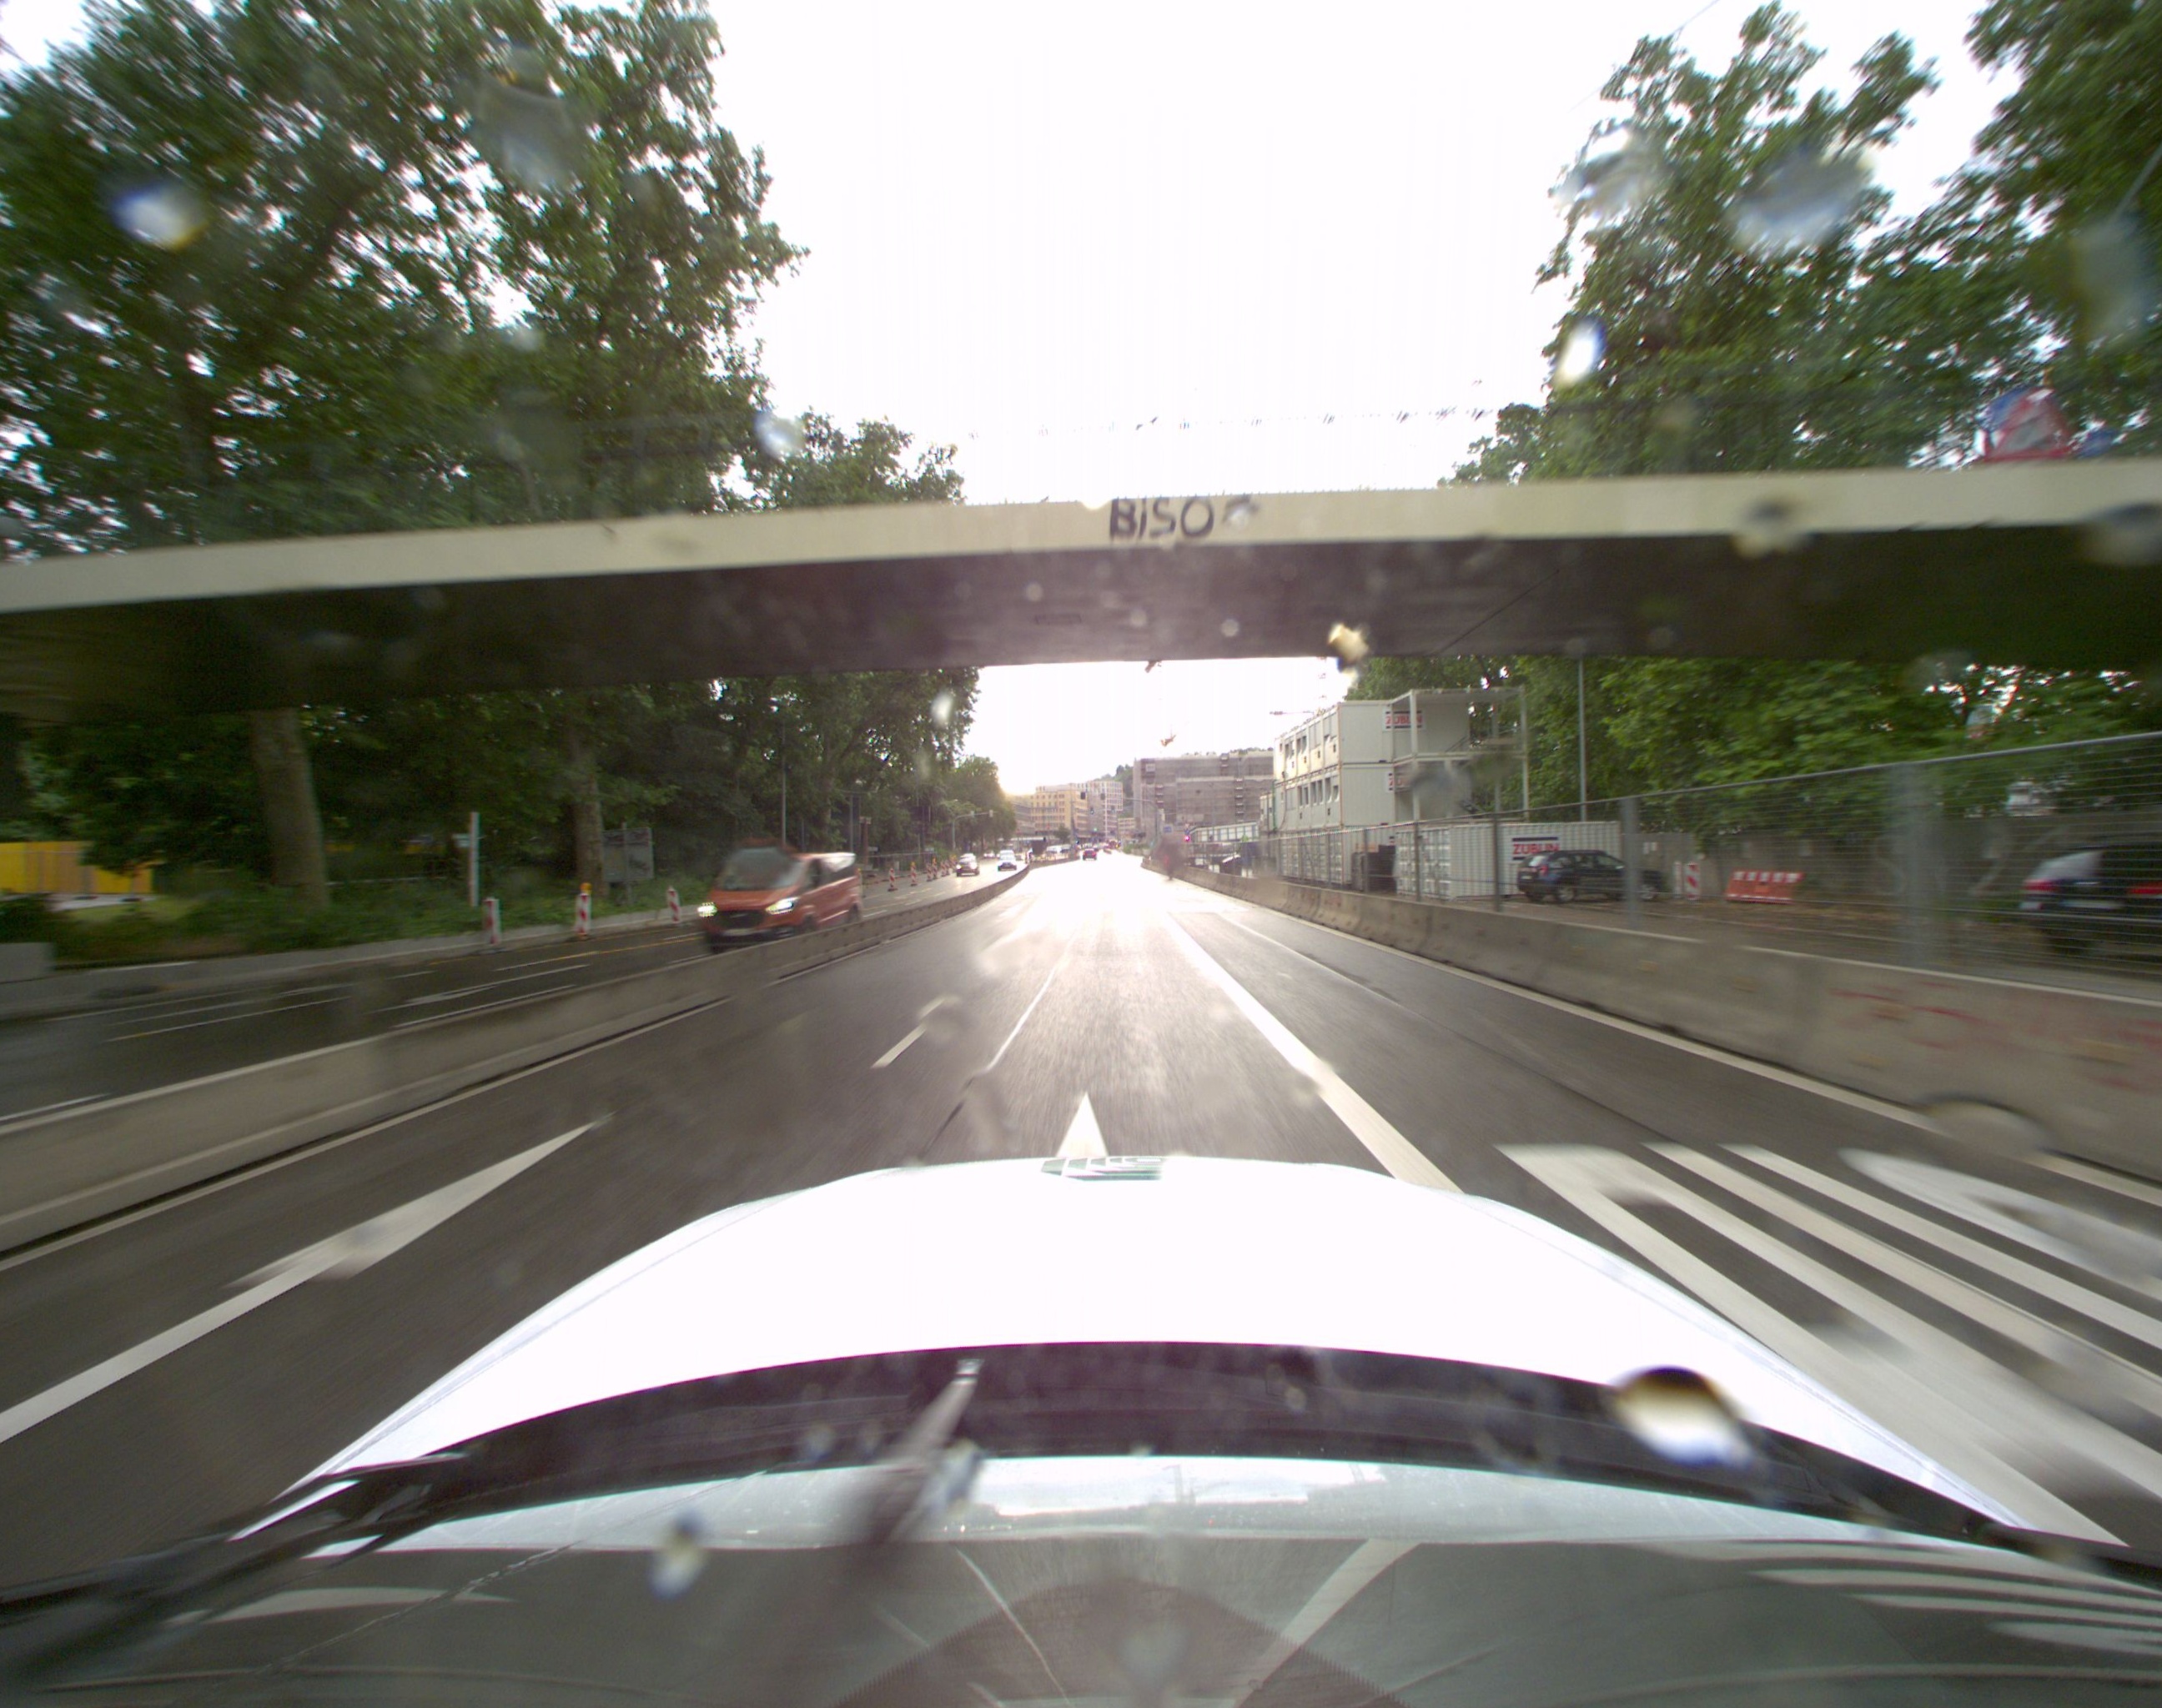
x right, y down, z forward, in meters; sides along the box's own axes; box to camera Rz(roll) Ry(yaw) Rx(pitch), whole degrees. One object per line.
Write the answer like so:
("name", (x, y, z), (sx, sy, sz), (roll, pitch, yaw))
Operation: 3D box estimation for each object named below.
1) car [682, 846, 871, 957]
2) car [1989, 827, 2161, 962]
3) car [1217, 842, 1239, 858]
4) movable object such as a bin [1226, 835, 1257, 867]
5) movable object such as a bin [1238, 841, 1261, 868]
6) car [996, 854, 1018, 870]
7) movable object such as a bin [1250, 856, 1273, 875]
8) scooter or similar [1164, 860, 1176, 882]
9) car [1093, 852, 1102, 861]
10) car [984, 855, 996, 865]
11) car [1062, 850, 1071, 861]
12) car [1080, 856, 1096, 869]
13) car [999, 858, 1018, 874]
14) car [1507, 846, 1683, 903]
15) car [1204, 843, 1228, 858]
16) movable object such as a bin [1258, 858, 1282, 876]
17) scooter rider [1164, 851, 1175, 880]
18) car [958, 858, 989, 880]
("car", (-6.262, 0.958, 17.533), (2.024, 1.936, 5.043), (-3, -2, 1))
("car", (16.023, 0.487, 11.470), (4.491, 1.728, 1.997), (-1, -1, -5))
("car", (18.339, -0.480, 101.630), (1.840, 1.806, 5.086), (-1, 2, 0))
("movable object such as a bin", (14.580, -0.313, 74.074), (1.804, 2.809, 3.860), (-1, 2, -5))
("movable object such as a bin", (14.520, 0.041, 70.181), (1.463, 2.203, 1.255), (-2, 2, -23))
("car", (-8.650, 0.947, 95.079), (2.024, 1.653, 4.910), (-3, 0, 0))
("movable object such as a bin", (12.494, 0.832, 56.531), (1.243, 1.237, 1.239), (-3, -2, -1))
("scooter or similar", (5.490, 1.051, 50.237), (0.595, 1.319, 1.668), (-1, 0, 3))
("car", (4.215, 0.544, 205.034), (1.986, 2.014, 4.001), (-3, -2, 2))
("car", (-16.815, 1.163, 150.983), (1.990, 1.541, 4.438), (-3, -2, -4))
("car", (-3.284, 0.332, 181.068), (1.897, 2.083, 4.173), (-3, -2, -2))
("car", (0.920, 1.089, 108.913), (1.897, 1.528, 4.173), (-3, -2, -2))
("car", (-6.854, 1.142, 77.362), (1.709, 1.339, 4.055), (-3, 0, -5))
("car", (16.300, 0.635, 25.972), (4.530, 1.629, 1.787), (-2, 1, -2))
("car", (17.773, -0.455, 107.581), (1.909, 1.975, 5.154), (-1, 0, -5))
("movable object such as a bin", (12.362, 0.873, 53.339), (1.243, 1.123, 1.239), (-3, -2, -1))
("scooter rider", (5.478, 0.687, 50.219), (0.595, 1.785, 0.998), (-1, 0, 3))
("car", (-8.922, 1.217, 67.832), (2.025, 1.653, 4.316), (-2, 1, -2))
